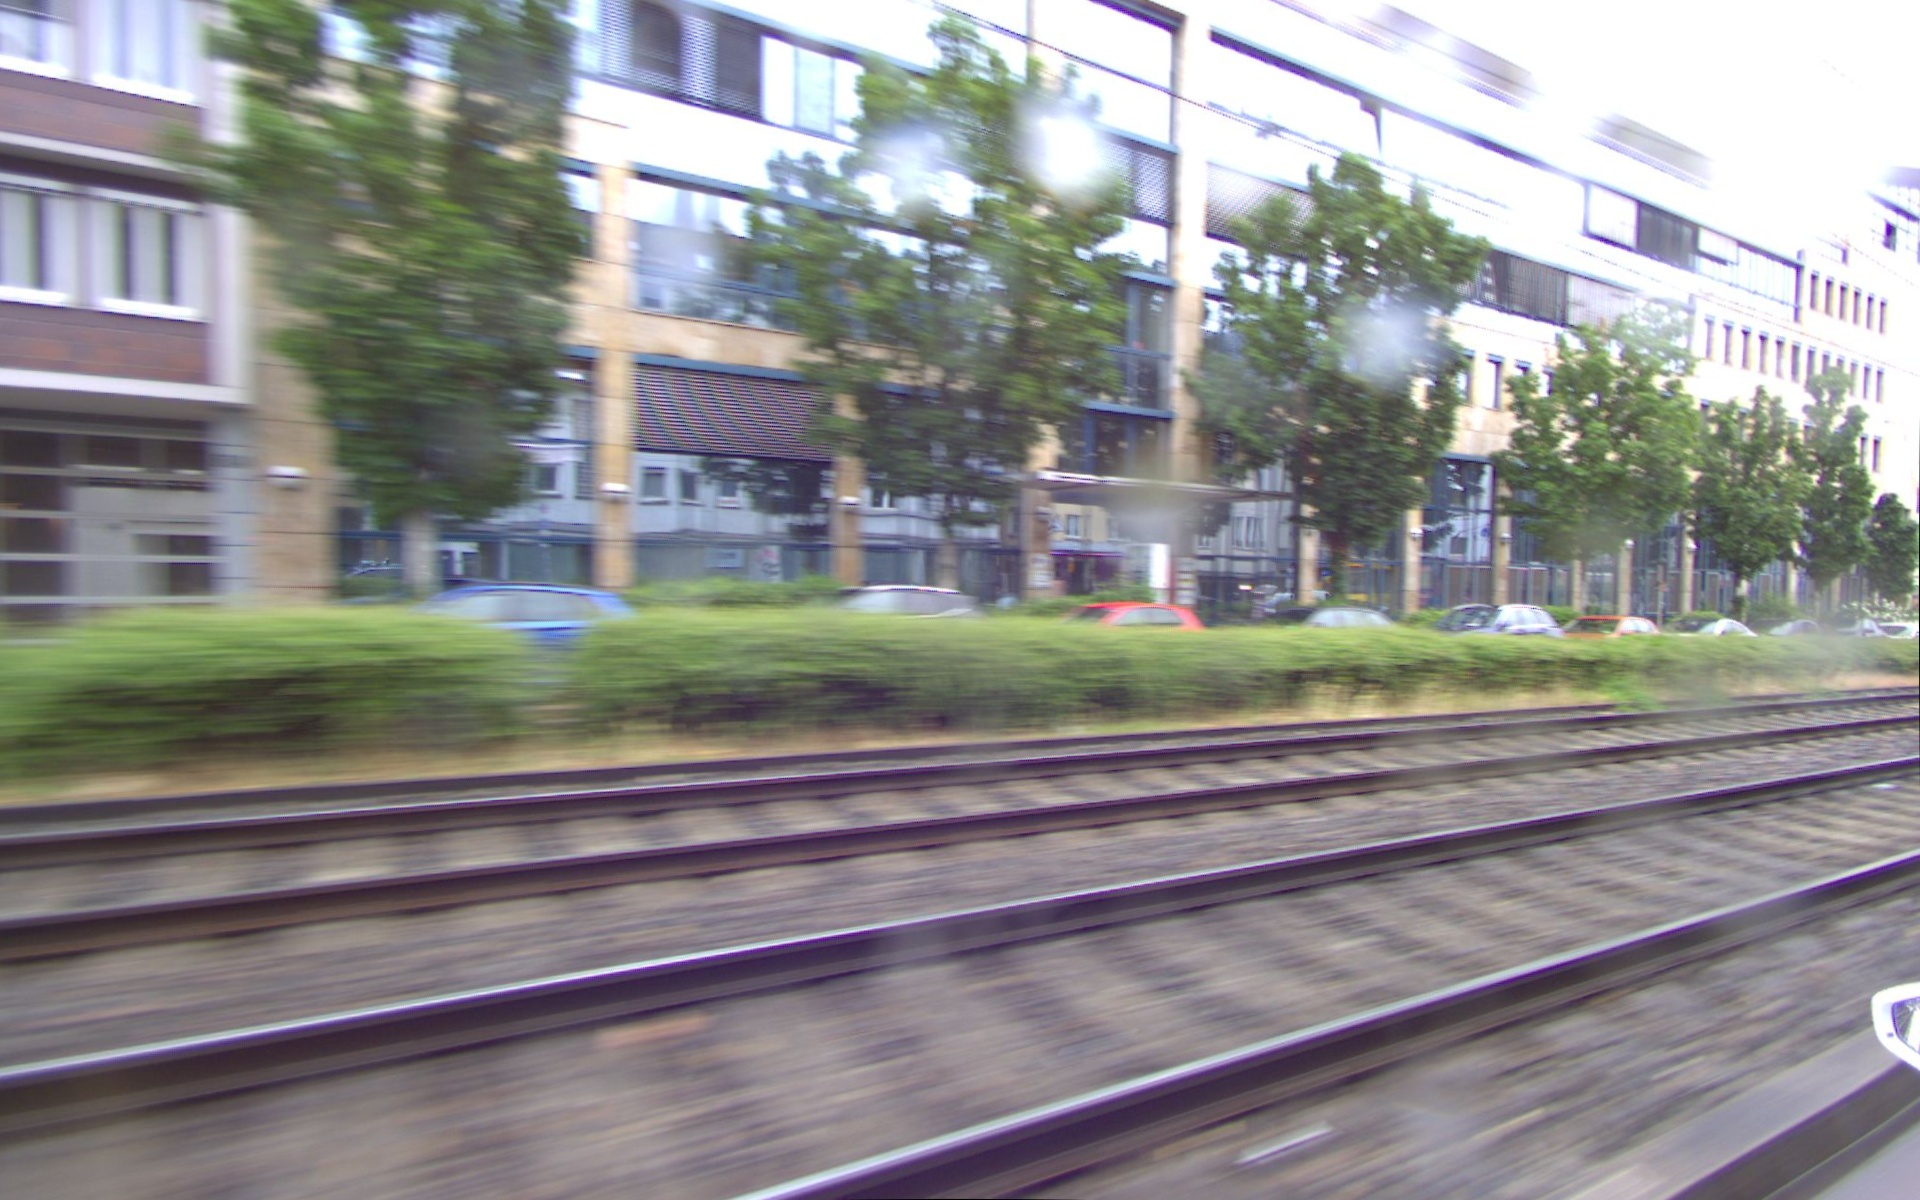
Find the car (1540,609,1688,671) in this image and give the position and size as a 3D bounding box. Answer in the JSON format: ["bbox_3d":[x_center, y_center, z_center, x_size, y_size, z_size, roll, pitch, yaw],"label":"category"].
[{"bbox_3d":[17.747,1.063,27.215,4.242,1.518,1.641,1,0,-31],"label":"car"}]

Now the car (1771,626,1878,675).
[{"bbox_3d":[30.230,1.724,35.110,4.249,1.506,1.679,0,2,-33],"label":"car"}]

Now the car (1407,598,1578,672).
[{"bbox_3d":[12.799,0.812,24.083,4.242,1.623,1.641,1,0,-31],"label":"car"}]

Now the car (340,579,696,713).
[{"bbox_3d":[-5.664,0.551,13.081,4.020,1.518,1.641,1,0,-31],"label":"car"}]

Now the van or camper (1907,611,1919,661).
[{"bbox_3d":[41.528,1.564,41.561,5.137,2.024,2.007,2,1,-31],"label":"van or camper"}]

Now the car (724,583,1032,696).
[{"bbox_3d":[-1.226,0.580,15.778,4.568,1.561,1.641,1,0,-31],"label":"car"}]

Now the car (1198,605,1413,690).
[{"bbox_3d":[7.199,0.943,20.796,4.568,1.561,1.641,1,0,-31],"label":"car"}]

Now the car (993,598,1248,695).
[{"bbox_3d":[2.973,0.802,18.225,4.568,1.561,1.641,1,0,-31],"label":"car"}]

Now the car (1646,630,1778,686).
[{"bbox_3d":[22.333,1.674,29.803,4.143,1.518,1.641,1,0,-31],"label":"car"}]

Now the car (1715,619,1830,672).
[{"bbox_3d":[26.242,1.425,32.411,3.956,1.506,1.679,0,2,-32],"label":"car"}]

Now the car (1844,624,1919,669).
[{"bbox_3d":[34.930,1.691,37.536,4.208,1.506,1.679,0,2,-32],"label":"car"}]
